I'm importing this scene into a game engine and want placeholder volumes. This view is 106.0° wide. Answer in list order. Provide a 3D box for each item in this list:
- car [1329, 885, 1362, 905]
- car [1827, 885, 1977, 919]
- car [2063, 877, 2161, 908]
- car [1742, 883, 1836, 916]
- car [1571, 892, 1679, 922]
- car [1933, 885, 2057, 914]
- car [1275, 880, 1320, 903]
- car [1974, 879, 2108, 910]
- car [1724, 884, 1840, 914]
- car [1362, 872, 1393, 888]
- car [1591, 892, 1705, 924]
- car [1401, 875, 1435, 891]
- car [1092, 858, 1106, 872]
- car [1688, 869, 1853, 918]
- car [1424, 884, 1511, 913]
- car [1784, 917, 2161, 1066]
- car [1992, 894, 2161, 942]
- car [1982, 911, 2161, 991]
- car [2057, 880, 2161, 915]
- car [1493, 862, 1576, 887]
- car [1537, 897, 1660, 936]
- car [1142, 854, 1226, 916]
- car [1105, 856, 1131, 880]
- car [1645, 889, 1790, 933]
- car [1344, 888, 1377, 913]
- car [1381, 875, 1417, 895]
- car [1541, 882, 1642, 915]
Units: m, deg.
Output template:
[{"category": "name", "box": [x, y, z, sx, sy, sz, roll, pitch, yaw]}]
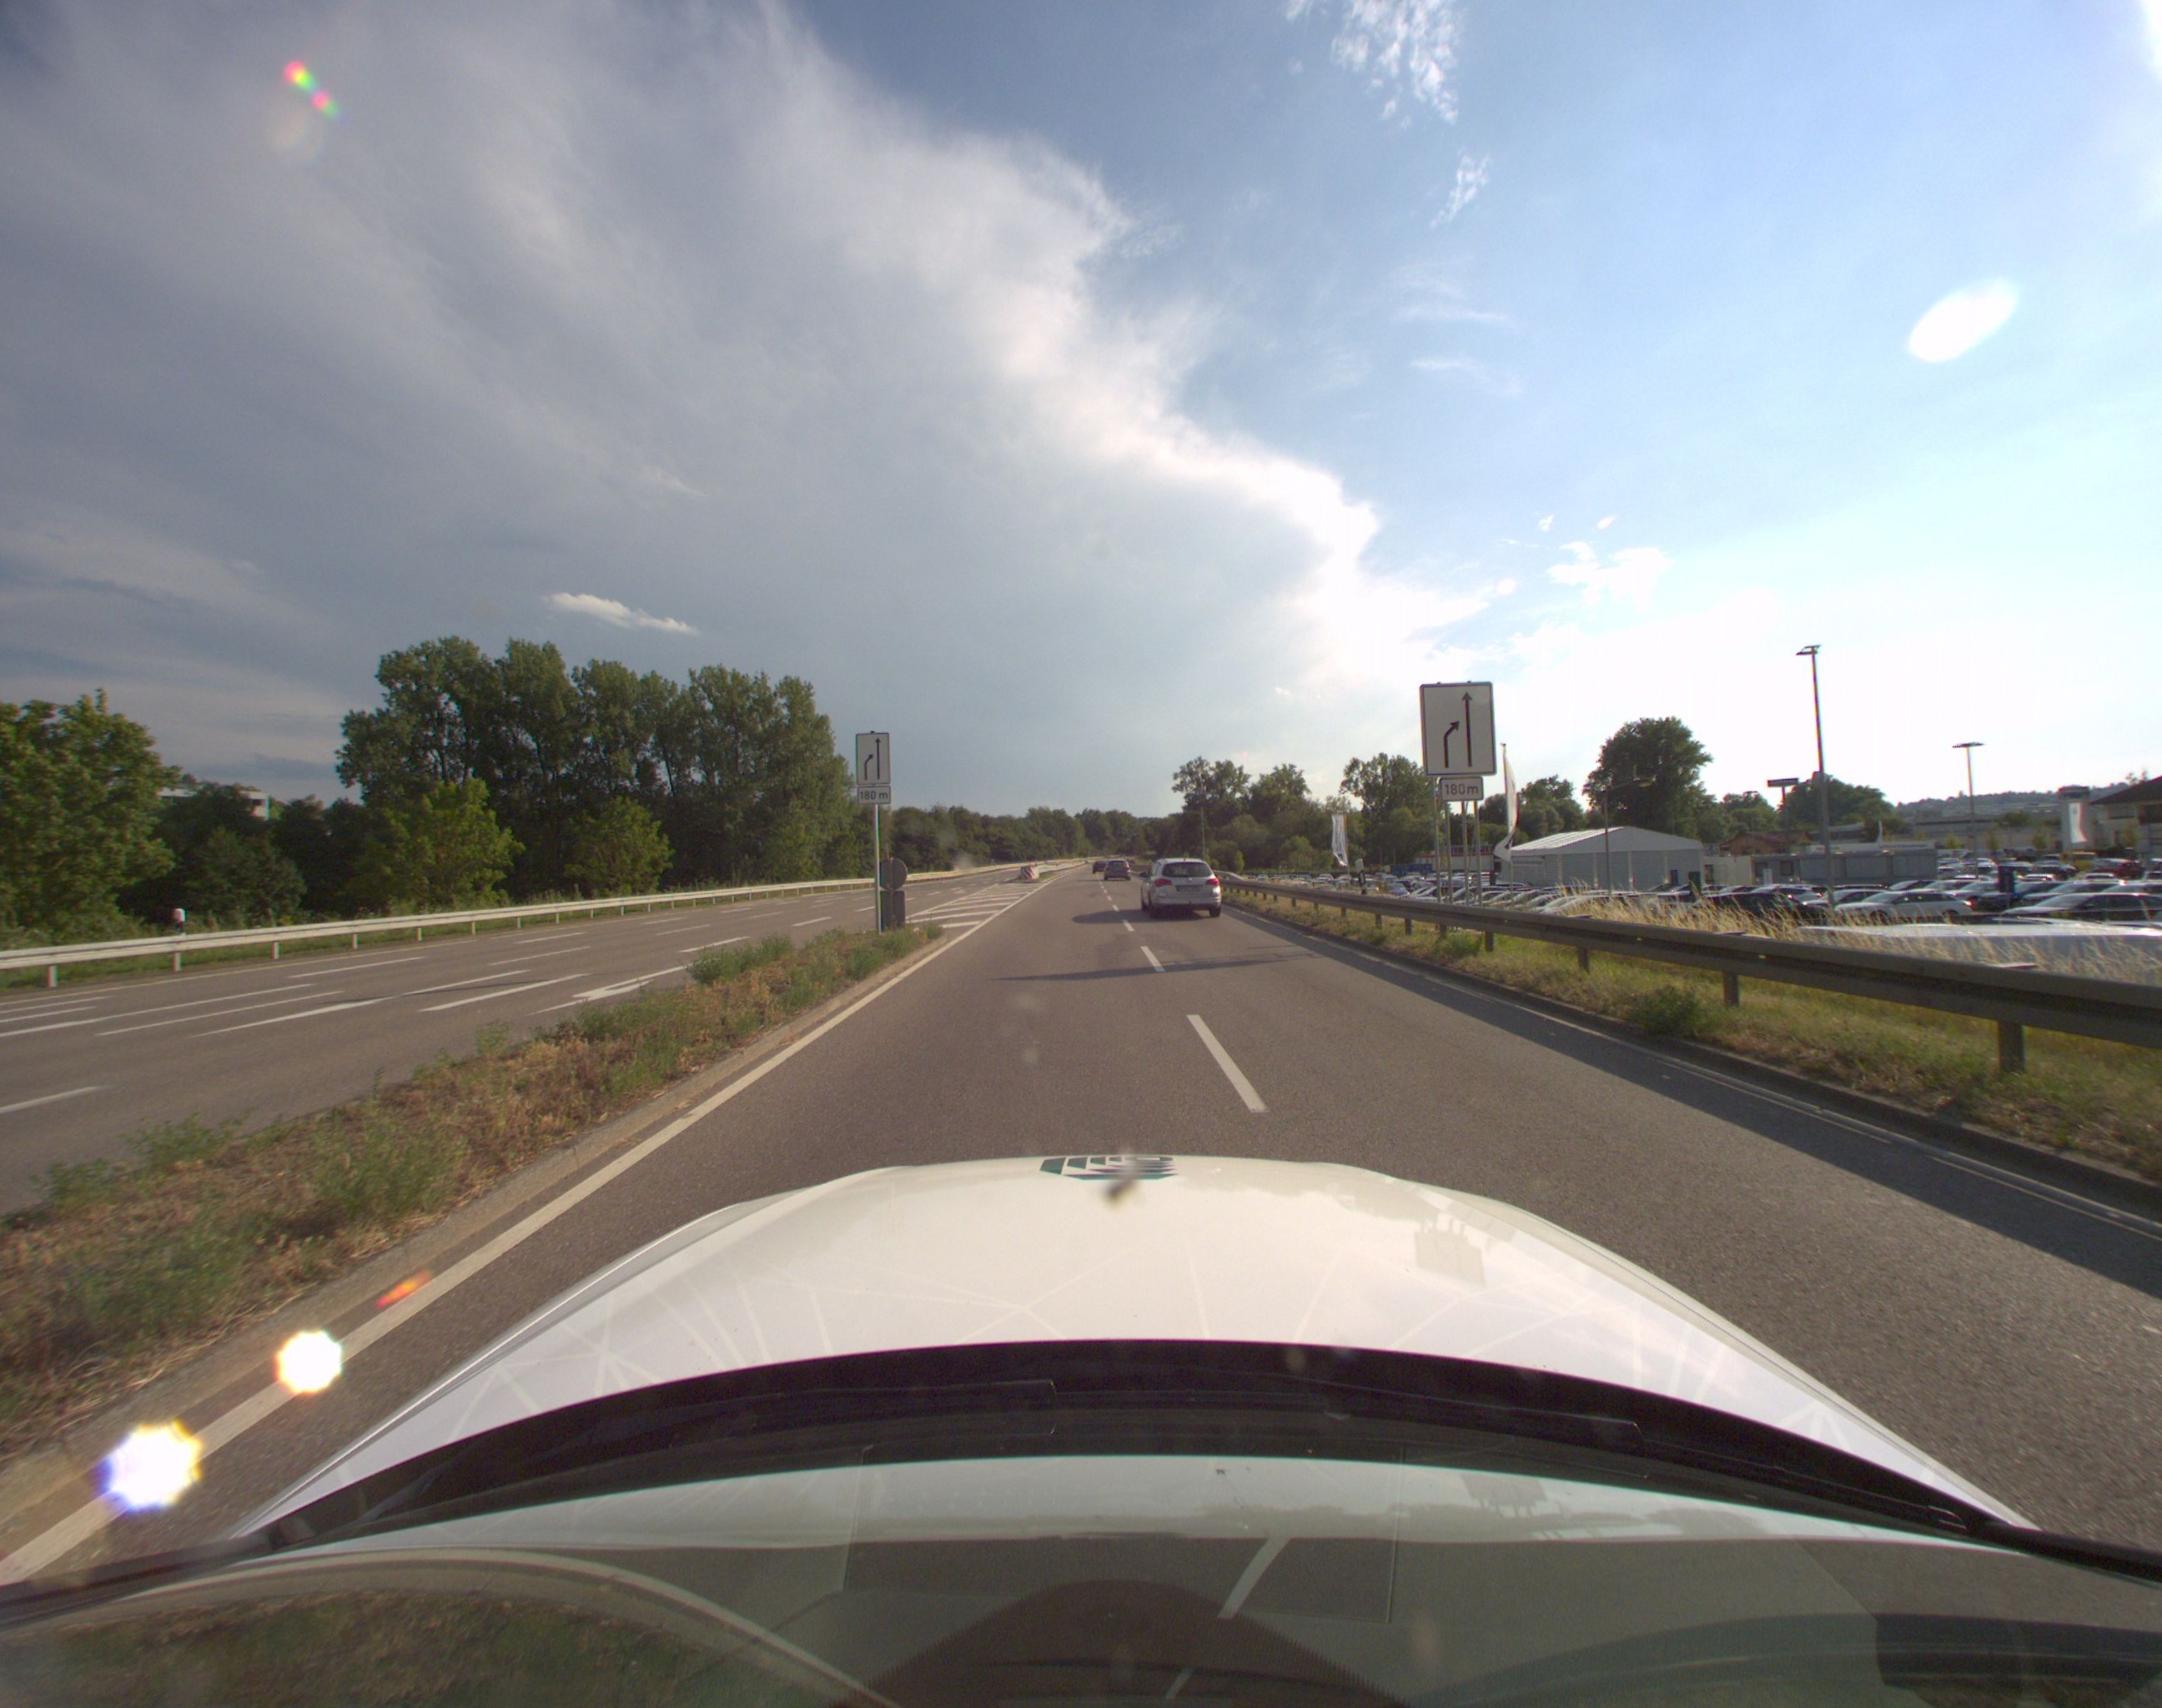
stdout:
[{"category": "car", "box": [23.569, 3.604, 72.705, 1.870, 1.636, 4.738, 0, -1, 7]}, {"category": "car", "box": [35.546, 2.071, 35.359, 4.393, 1.369, 1.805, 0, -1, 8]}, {"category": "car", "box": [56.407, 2.073, 44.037, 3.925, 1.641, 1.763, -1, -2, 12]}, {"category": "car", "box": [43.201, 2.758, 49.779, 3.960, 1.956, 1.787, -1, -2, 12]}, {"category": "car", "box": [28.887, 2.797, 43.365, 4.393, 1.543, 1.805, 0, -1, 8]}, {"category": "car", "box": [50.541, 2.517, 45.126, 4.302, 1.543, 1.807, -1, -1, 12]}, {"category": "car", "box": [16.088, 2.776, 60.792, 1.875, 1.626, 4.723, 0, -1, -3]}, {"category": "car", "box": [49.828, 2.105, 42.355, 4.302, 1.543, 1.807, -1, -1, 12]}, {"category": "car", "box": [37.131, 2.362, 43.222, 4.393, 1.543, 1.805, 0, -1, 8]}, {"category": "car", "box": [31.362, 2.725, 86.255, 1.871, 1.636, 4.736, 0, -1, 5]}, {"category": "car", "box": [28.434, 2.701, 40.967, 4.393, 1.543, 1.805, 0, -1, 8]}, {"category": "car", "box": [35.400, 3.016, 85.613, 1.871, 1.636, 4.734, 0, -1, 4]}, {"category": "car", "box": [1.977, 1.157, 88.141, 1.487, 1.476, 3.360, 0, -1, 2]}, {"category": "car", "box": [25.738, 1.464, 30.552, 4.393, 1.714, 1.805, -1, -2, 8]}, {"category": "car", "box": [23.145, 2.661, 48.935, 4.393, 1.667, 1.846, 0, -1, 8]}, {"category": "car", "box": [14.904, 2.063, 12.763, 5.856, 2.014, 2.002, 0, -1, 3]}, {"category": "car", "box": [35.367, 2.214, 28.576, 4.393, 1.543, 1.805, 0, -1, 8]}, {"category": "car", "box": [26.079, 2.406, 21.038, 1.588, 1.694, 3.923, 0, -1, 8]}, {"category": "car", "box": [48.310, 1.990, 37.385, 4.302, 1.543, 1.807, -1, -1, 12]}, {"category": "car", "box": [29.714, 1.358, 53.489, 4.400, 1.636, 1.890, 0, -1, 8]}, {"category": "car", "box": [21.500, 2.578, 33.949, 3.954, 1.543, 1.789, 0, -1, 4]}, {"category": "car", "box": [2.616, 0.792, 21.518, 1.802, 1.486, 4.000, 0, -1, 1]}, {"category": "car", "box": [2.486, 0.972, 55.080, 1.661, 1.574, 4.001, 0, -1, 2]}, {"category": "car", "box": [26.116, 2.308, 33.542, 4.393, 1.714, 1.805, 0, -1, 8]}, {"category": "car", "box": [22.801, 3.764, 66.592, 1.867, 1.931, 4.744, -1, -1, 11]}, {"category": "car", "box": [25.690, 2.476, 65.943, 1.867, 1.522, 4.744, -1, -1, 11]}, {"category": "car", "box": [28.720, 2.536, 45.926, 4.393, 1.704, 1.804, -2, -5, 8]}]
